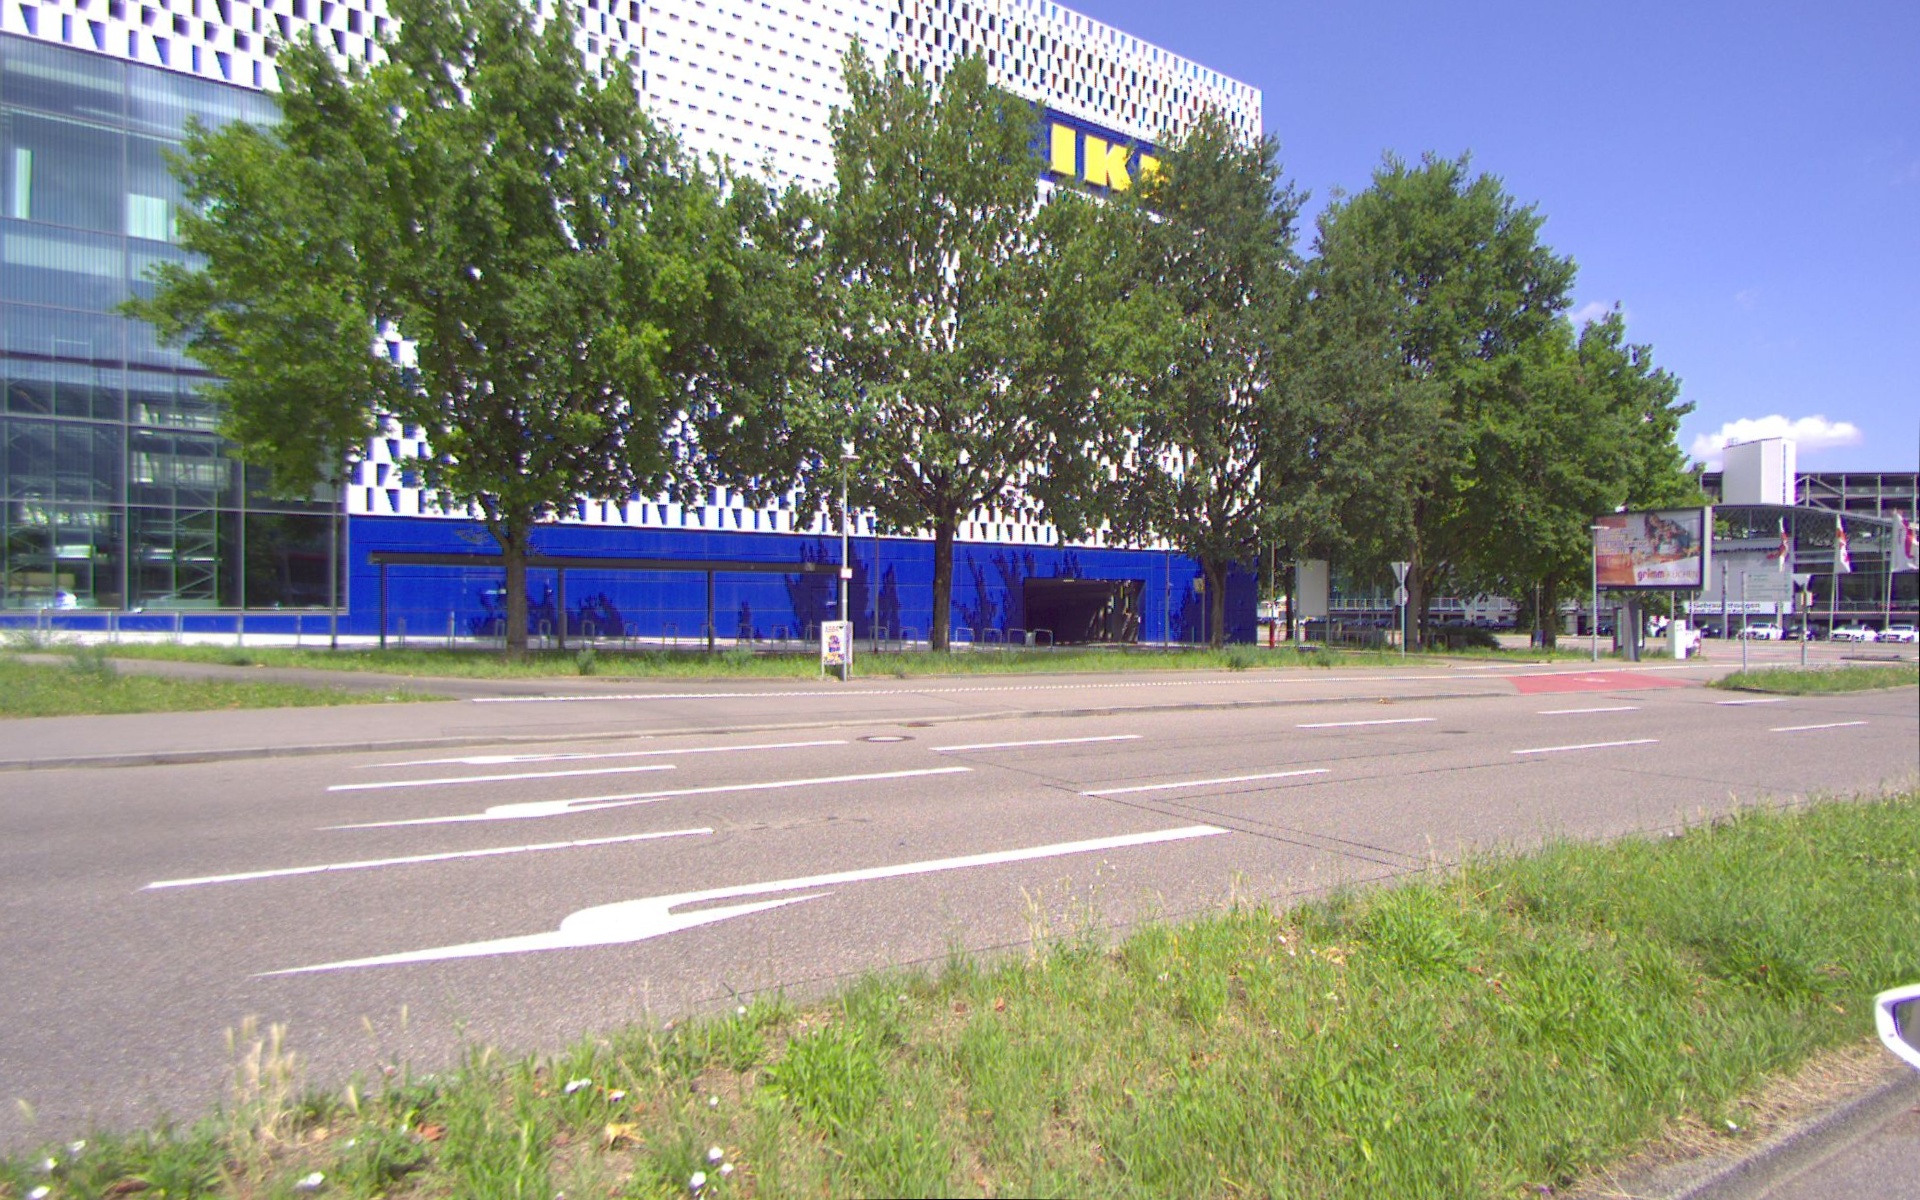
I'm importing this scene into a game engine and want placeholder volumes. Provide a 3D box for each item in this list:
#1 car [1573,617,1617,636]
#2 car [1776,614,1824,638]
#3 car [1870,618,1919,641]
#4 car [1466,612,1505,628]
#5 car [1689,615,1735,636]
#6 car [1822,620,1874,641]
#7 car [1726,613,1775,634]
[{"bbox_3d":[53.654,2.209,84.844,3.662,1.508,1.825,0,0,-34],"label":"car"},{"bbox_3d":[62.016,1.910,74.144,3.578,1.683,1.746,0,0,-33],"label":"car"},{"bbox_3d":[65.111,2.006,69.843,3.986,1.469,1.766,0,0,-33],"label":"car"},{"bbox_3d":[49.909,1.872,95.321,3.661,1.506,1.717,0,0,-33],"label":"car"},{"bbox_3d":[59.139,1.975,78.966,3.661,1.506,1.717,0,0,-33],"label":"car"},{"bbox_3d":[63.583,2.167,71.934,3.711,1.394,1.896,0,0,-33],"label":"car"},{"bbox_3d":[60.557,1.806,76.907,3.661,1.506,1.868,0,0,-33],"label":"car"}]
